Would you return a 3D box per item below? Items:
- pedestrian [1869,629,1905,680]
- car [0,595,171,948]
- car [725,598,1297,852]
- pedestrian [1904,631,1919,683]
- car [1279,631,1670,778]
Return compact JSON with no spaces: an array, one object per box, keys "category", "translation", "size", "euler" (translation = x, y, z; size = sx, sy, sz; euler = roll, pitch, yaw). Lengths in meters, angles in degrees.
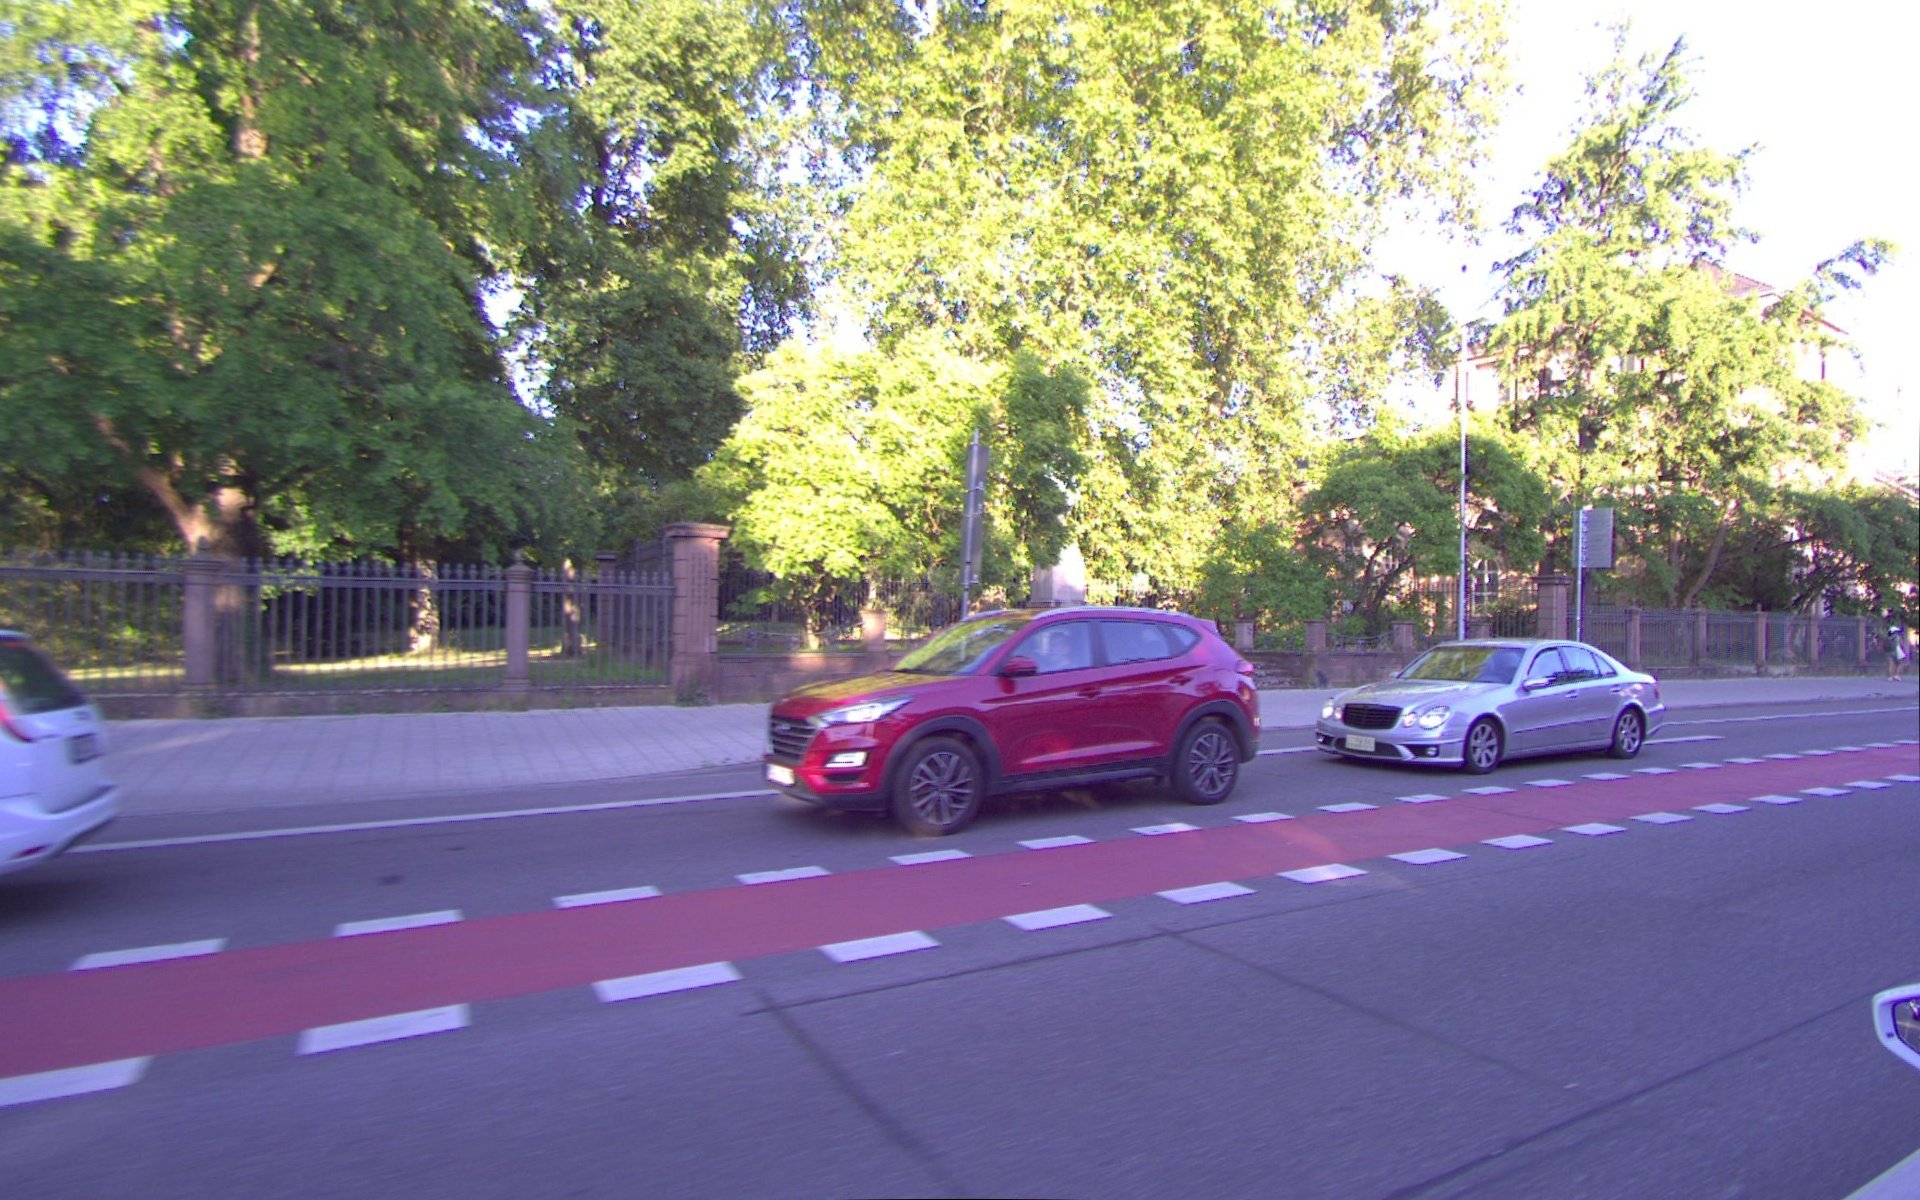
[{"category":"pedestrian","translation":[30.571,1.788,33.133],"size":[0.679,1.644,0.678],"euler":[1,-1,-26]},{"category":"car","translation":[-6.568,0.771,4.391],"size":[4.619,1.604,1.907],"euler":[1,-3,-30]},{"category":"car","translation":[0.527,0.902,8.537],"size":[4.585,1.646,1.907],"euler":[1,-3,-30]},{"category":"pedestrian","translation":[31.001,1.841,32.334],"size":[0.678,1.644,0.680],"euler":[1,-1,-20]},{"category":"car","translation":[6.166,1.116,11.909],"size":[4.714,1.436,1.907],"euler":[1,-3,-30]}]
